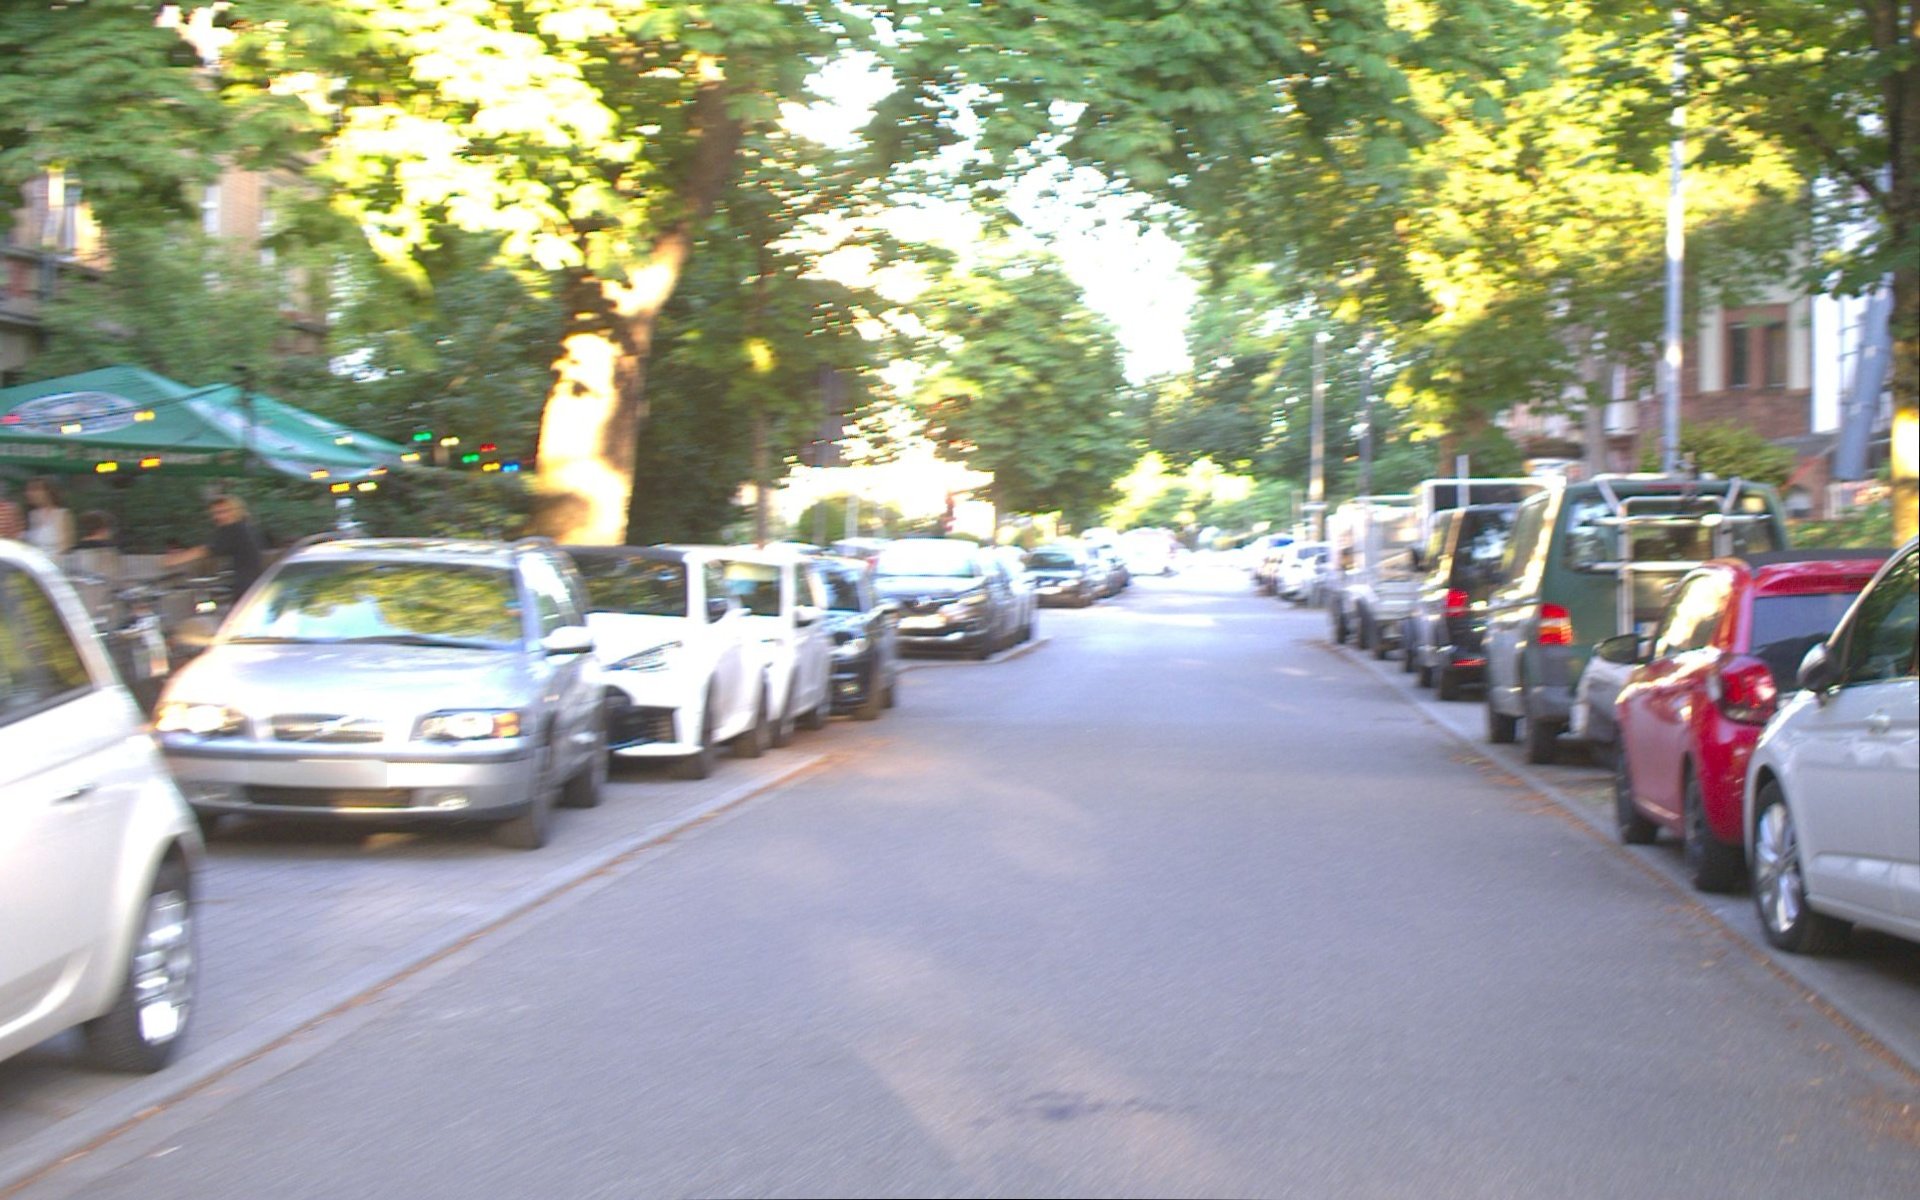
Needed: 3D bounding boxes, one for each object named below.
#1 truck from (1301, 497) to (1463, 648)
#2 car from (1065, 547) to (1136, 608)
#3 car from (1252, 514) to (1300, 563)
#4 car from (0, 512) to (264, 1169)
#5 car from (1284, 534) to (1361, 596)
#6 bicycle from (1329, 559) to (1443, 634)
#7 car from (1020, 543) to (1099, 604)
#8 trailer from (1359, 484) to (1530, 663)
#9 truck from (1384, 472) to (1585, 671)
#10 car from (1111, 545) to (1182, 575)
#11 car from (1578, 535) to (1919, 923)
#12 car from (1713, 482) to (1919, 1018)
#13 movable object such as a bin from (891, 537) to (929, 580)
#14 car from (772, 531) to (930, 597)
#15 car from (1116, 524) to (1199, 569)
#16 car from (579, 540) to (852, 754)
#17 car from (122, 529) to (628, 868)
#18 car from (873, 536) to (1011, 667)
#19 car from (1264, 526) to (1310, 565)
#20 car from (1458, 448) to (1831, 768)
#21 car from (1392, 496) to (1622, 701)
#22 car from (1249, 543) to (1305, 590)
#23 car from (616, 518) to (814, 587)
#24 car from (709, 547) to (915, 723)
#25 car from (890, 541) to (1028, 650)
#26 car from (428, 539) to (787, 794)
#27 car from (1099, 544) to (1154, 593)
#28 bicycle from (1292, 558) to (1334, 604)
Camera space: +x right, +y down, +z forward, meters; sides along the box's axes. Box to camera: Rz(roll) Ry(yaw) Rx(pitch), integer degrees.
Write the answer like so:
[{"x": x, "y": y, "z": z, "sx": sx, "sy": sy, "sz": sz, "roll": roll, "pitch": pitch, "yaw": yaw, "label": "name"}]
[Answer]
[{"x": 6.625, "y": -0.442, "z": 54.616, "sx": 1.977, "sy": 2.237, "sz": 6.776, "roll": 0, "pitch": 1, "yaw": 2, "label": "truck"}, {"x": 4.197, "y": -0.690, "z": 102.092, "sx": 1.922, "sy": 1.711, "sz": 4.427, "roll": 1, "pitch": 1, "yaw": 4, "label": "car"}, {"x": 12.902, "y": -2.497, "z": 140.446, "sx": 1.680, "sy": 1.934, "sz": 3.880, "roll": 1, "pitch": 1, "yaw": 2, "label": "car"}, {"x": -3.006, "y": 0.525, "z": 8.234, "sx": 1.664, "sy": 1.488, "sz": 3.710, "roll": 3, "pitch": 2, "yaw": 3, "label": "car"}, {"x": 10.208, "y": -0.987, "z": 97.046, "sx": 1.798, "sy": 1.705, "sz": 4.601, "roll": 0, "pitch": 1, "yaw": 2, "label": "car"}, {"x": 7.443, "y": -0.065, "z": 60.080, "sx": 1.902, "sy": 1.254, "sz": 0.407, "roll": -2, "pitch": 1, "yaw": -1, "label": "bicycle"}, {"x": 2.524, "y": -0.687, "z": 86.267, "sx": 1.617, "sy": 1.465, "sz": 3.960, "roll": 1, "pitch": 1, "yaw": 7, "label": "car"}, {"x": 6.626, "y": -0.397, "z": 47.447, "sx": 1.954, "sy": 2.288, "sz": 4.644, "roll": -2, "pitch": 1, "yaw": 4, "label": "trailer"}, {"x": 6.344, "y": -0.392, "z": 42.047, "sx": 1.954, "sy": 2.239, "sz": 4.644, "roll": -2, "pitch": 1, "yaw": 3, "label": "truck"}, {"x": 9.811, "y": -2.111, "z": 180.760, "sx": 3.618, "sy": 1.456, "sz": 1.606, "roll": 1, "pitch": 1, "yaw": 1, "label": "car"}, {"x": 3.913, "y": 0.494, "z": 15.808, "sx": 1.664, "sy": 1.494, "sz": 3.694, "roll": -2, "pitch": 1, "yaw": 4, "label": "car"}, {"x": 3.796, "y": 0.438, "z": 10.990, "sx": 1.664, "sy": 1.673, "sz": 4.120, "roll": -2, "pitch": 1, "yaw": -2, "label": "car"}, {"x": -1.594, "y": -1.333, "z": 109.727, "sx": 1.013, "sy": 1.316, "sz": 1.005, "roll": 3, "pitch": 2, "yaw": 9, "label": "movable object such as a bin"}, {"x": -2.957, "y": -0.988, "z": 94.022, "sx": 4.093, "sy": 1.522, "sz": 1.709, "roll": 4, "pitch": 1, "yaw": 3, "label": "car"}, {"x": 10.562, "y": -2.872, "z": 183.594, "sx": 4.350, "sy": 2.310, "sz": 1.745, "roll": 1, "pitch": 1, "yaw": 3, "label": "car"}, {"x": -1.876, "y": 0.316, "z": 27.350, "sx": 1.551, "sy": 1.480, "sz": 3.693, "roll": 3, "pitch": 2, "yaw": 5, "label": "car"}, {"x": -2.802, "y": 0.387, "z": 17.458, "sx": 1.840, "sy": 1.406, "sz": 4.601, "roll": 2, "pitch": 2, "yaw": -1, "label": "car"}, {"x": -0.217, "y": -0.025, "z": 46.434, "sx": 1.689, "sy": 1.558, "sz": 4.403, "roll": 3, "pitch": 2, "yaw": 0, "label": "car"}, {"x": 12.964, "y": -2.144, "z": 136.441, "sx": 1.538, "sy": 1.516, "sz": 3.431, "roll": 1, "pitch": 1, "yaw": 2, "label": "car"}, {"x": 4.853, "y": -0.011, "z": 25.053, "sx": 1.954, "sy": 2.052, "sz": 4.830, "roll": -2, "pitch": 1, "yaw": 3, "label": "car"}, {"x": 5.614, "y": -0.074, "z": 35.747, "sx": 1.839, "sy": 1.936, "sz": 4.613, "roll": -2, "pitch": 1, "yaw": 3, "label": "car"}, {"x": 11.093, "y": -1.165, "z": 120.369, "sx": 1.687, "sy": 1.600, "sz": 3.940, "roll": 1, "pitch": 1, "yaw": 2, "label": "car"}, {"x": -5.479, "y": -1.073, "z": 76.976, "sx": 4.095, "sy": 1.442, "sz": 1.708, "roll": 1, "pitch": 2, "yaw": 13, "label": "car"}, {"x": -1.294, "y": 0.273, "z": 31.374, "sx": 1.551, "sy": 1.480, "sz": 3.694, "roll": 0, "pitch": 1, "yaw": 3, "label": "car"}, {"x": 0.026, "y": -0.079, "z": 51.732, "sx": 1.690, "sy": 1.497, "sz": 4.402, "roll": 2, "pitch": 1, "yaw": 4, "label": "car"}, {"x": -2.233, "y": 0.364, "z": 22.700, "sx": 1.603, "sy": 1.430, "sz": 3.885, "roll": 3, "pitch": 2, "yaw": 5, "label": "car"}, {"x": 5.612, "y": -1.059, "z": 115.320, "sx": 1.716, "sy": 1.561, "sz": 3.787, "roll": 1, "pitch": 1, "yaw": 4, "label": "car"}, {"x": 9.025, "y": -0.488, "z": 87.890, "sx": 0.444, "sy": 1.169, "sz": 1.633, "roll": 1, "pitch": 1, "yaw": 29, "label": "bicycle"}]
